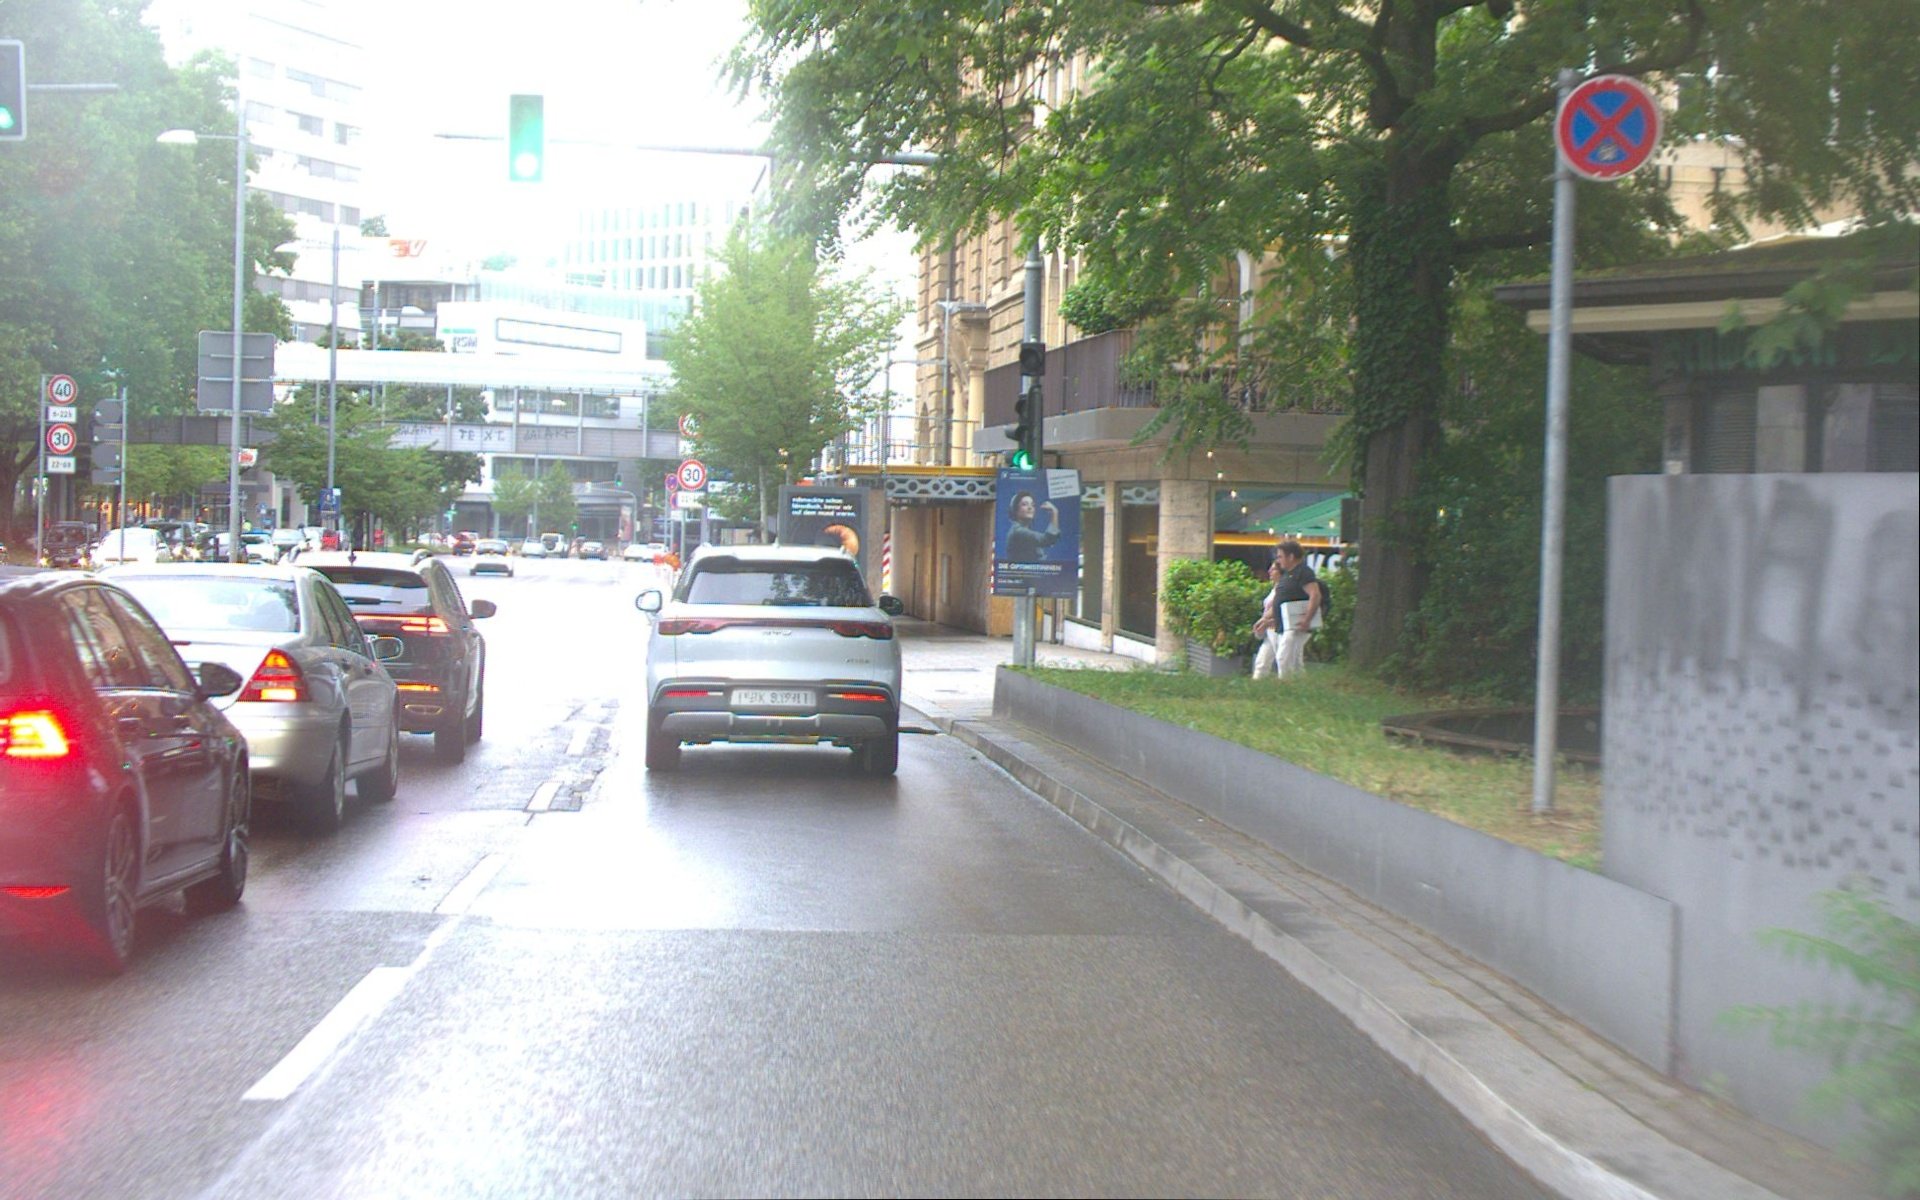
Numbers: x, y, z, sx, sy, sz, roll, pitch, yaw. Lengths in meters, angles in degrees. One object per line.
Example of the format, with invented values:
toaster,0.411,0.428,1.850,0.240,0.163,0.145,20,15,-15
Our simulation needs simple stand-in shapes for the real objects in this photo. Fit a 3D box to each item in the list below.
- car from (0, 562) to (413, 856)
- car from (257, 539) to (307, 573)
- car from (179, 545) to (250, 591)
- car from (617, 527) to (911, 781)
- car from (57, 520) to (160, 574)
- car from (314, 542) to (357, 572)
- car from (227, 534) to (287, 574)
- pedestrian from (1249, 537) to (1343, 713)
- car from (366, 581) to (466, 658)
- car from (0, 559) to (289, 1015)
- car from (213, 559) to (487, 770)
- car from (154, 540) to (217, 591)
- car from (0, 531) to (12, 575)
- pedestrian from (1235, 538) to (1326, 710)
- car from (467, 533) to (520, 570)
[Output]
car,-4.177,0.519,19.355,1.691,1.458,4.346,0,1,-3
car,-30.236,-1.947,153.415,1.794,1.505,4.346,0,1,-6
car,-24.923,-1.089,114.994,1.794,1.505,4.501,0,1,-6
car,-1.445,0.359,25.791,1.946,1.660,4.346,3,0,-3
car,-23.585,-1.468,95.330,2.159,1.458,4.346,0,1,-6
car,-32.082,-2.210,176.704,1.794,1.505,4.346,0,1,-6
car,-27.164,-1.776,132.929,1.794,1.505,4.501,0,1,-6
pedestrian,3.477,0.256,35.654,0.859,1.774,0.718,2,0,0
car,-10.786,0.361,68.347,1.691,1.458,4.346,0,1,-5
car,-3.704,0.575,13.034,1.691,1.458,4.130,0,1,-3
car,-4.527,0.420,26.017,1.691,1.458,4.346,0,1,-5
car,-29.377,-1.324,130.499,1.794,1.903,4.501,0,1,-6
car,-30.516,-1.473,105.782,1.848,1.362,4.240,2,0,-6
pedestrian,3.391,0.252,36.410,0.859,1.774,0.718,2,0,0
car,-19.117,-1.984,140.965,1.978,1.458,4.346,0,1,-6
